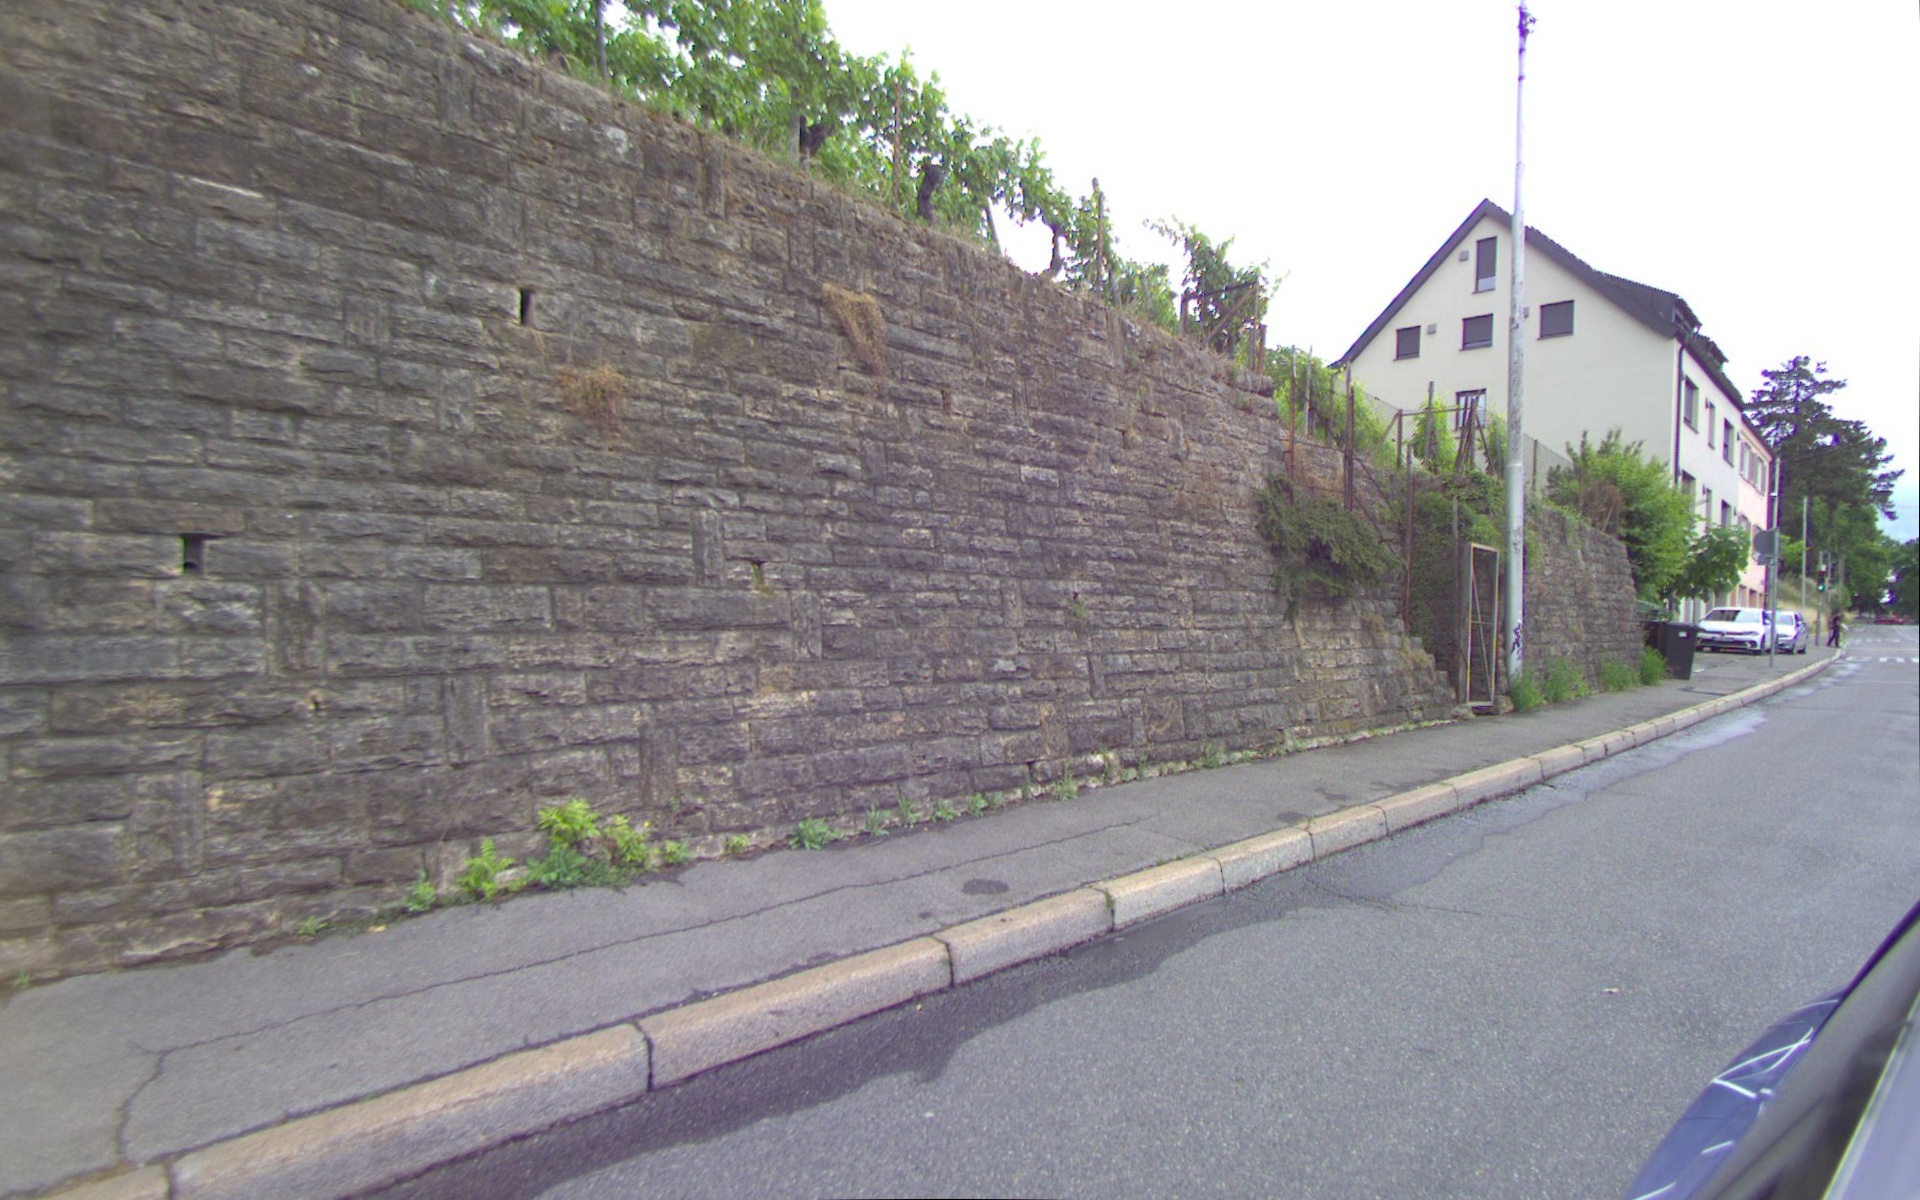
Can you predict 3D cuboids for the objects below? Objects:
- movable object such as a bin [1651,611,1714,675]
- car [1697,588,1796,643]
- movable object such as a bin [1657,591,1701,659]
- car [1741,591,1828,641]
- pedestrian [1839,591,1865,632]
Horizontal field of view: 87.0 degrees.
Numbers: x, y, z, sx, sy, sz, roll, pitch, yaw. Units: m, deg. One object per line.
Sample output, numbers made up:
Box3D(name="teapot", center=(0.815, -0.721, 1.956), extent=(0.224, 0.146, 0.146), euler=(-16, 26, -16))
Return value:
Box3D(name="movable object such as a bin", center=(13.512, 0.788, 18.922), extent=(0.860, 1.141, 0.810), euler=(1, 0, -43))
Box3D(name="car", center=(24.385, 0.430, 31.331), extent=(3.987, 1.595, 1.796), euler=(0, 0, -43))
Box3D(name="movable object such as a bin", center=(16.916, 0.572, 23.808), extent=(0.750, 1.562, 1.049), euler=(1, 0, 41))
Box3D(name="car", center=(28.118, 0.493, 34.465), extent=(4.177, 1.595, 1.729), euler=(0, 0, -43))
Box3D(name="pedestrian", center=(38.499, 0.487, 43.674), extent=(0.683, 1.734, 0.735), euler=(1, 0, -39))
